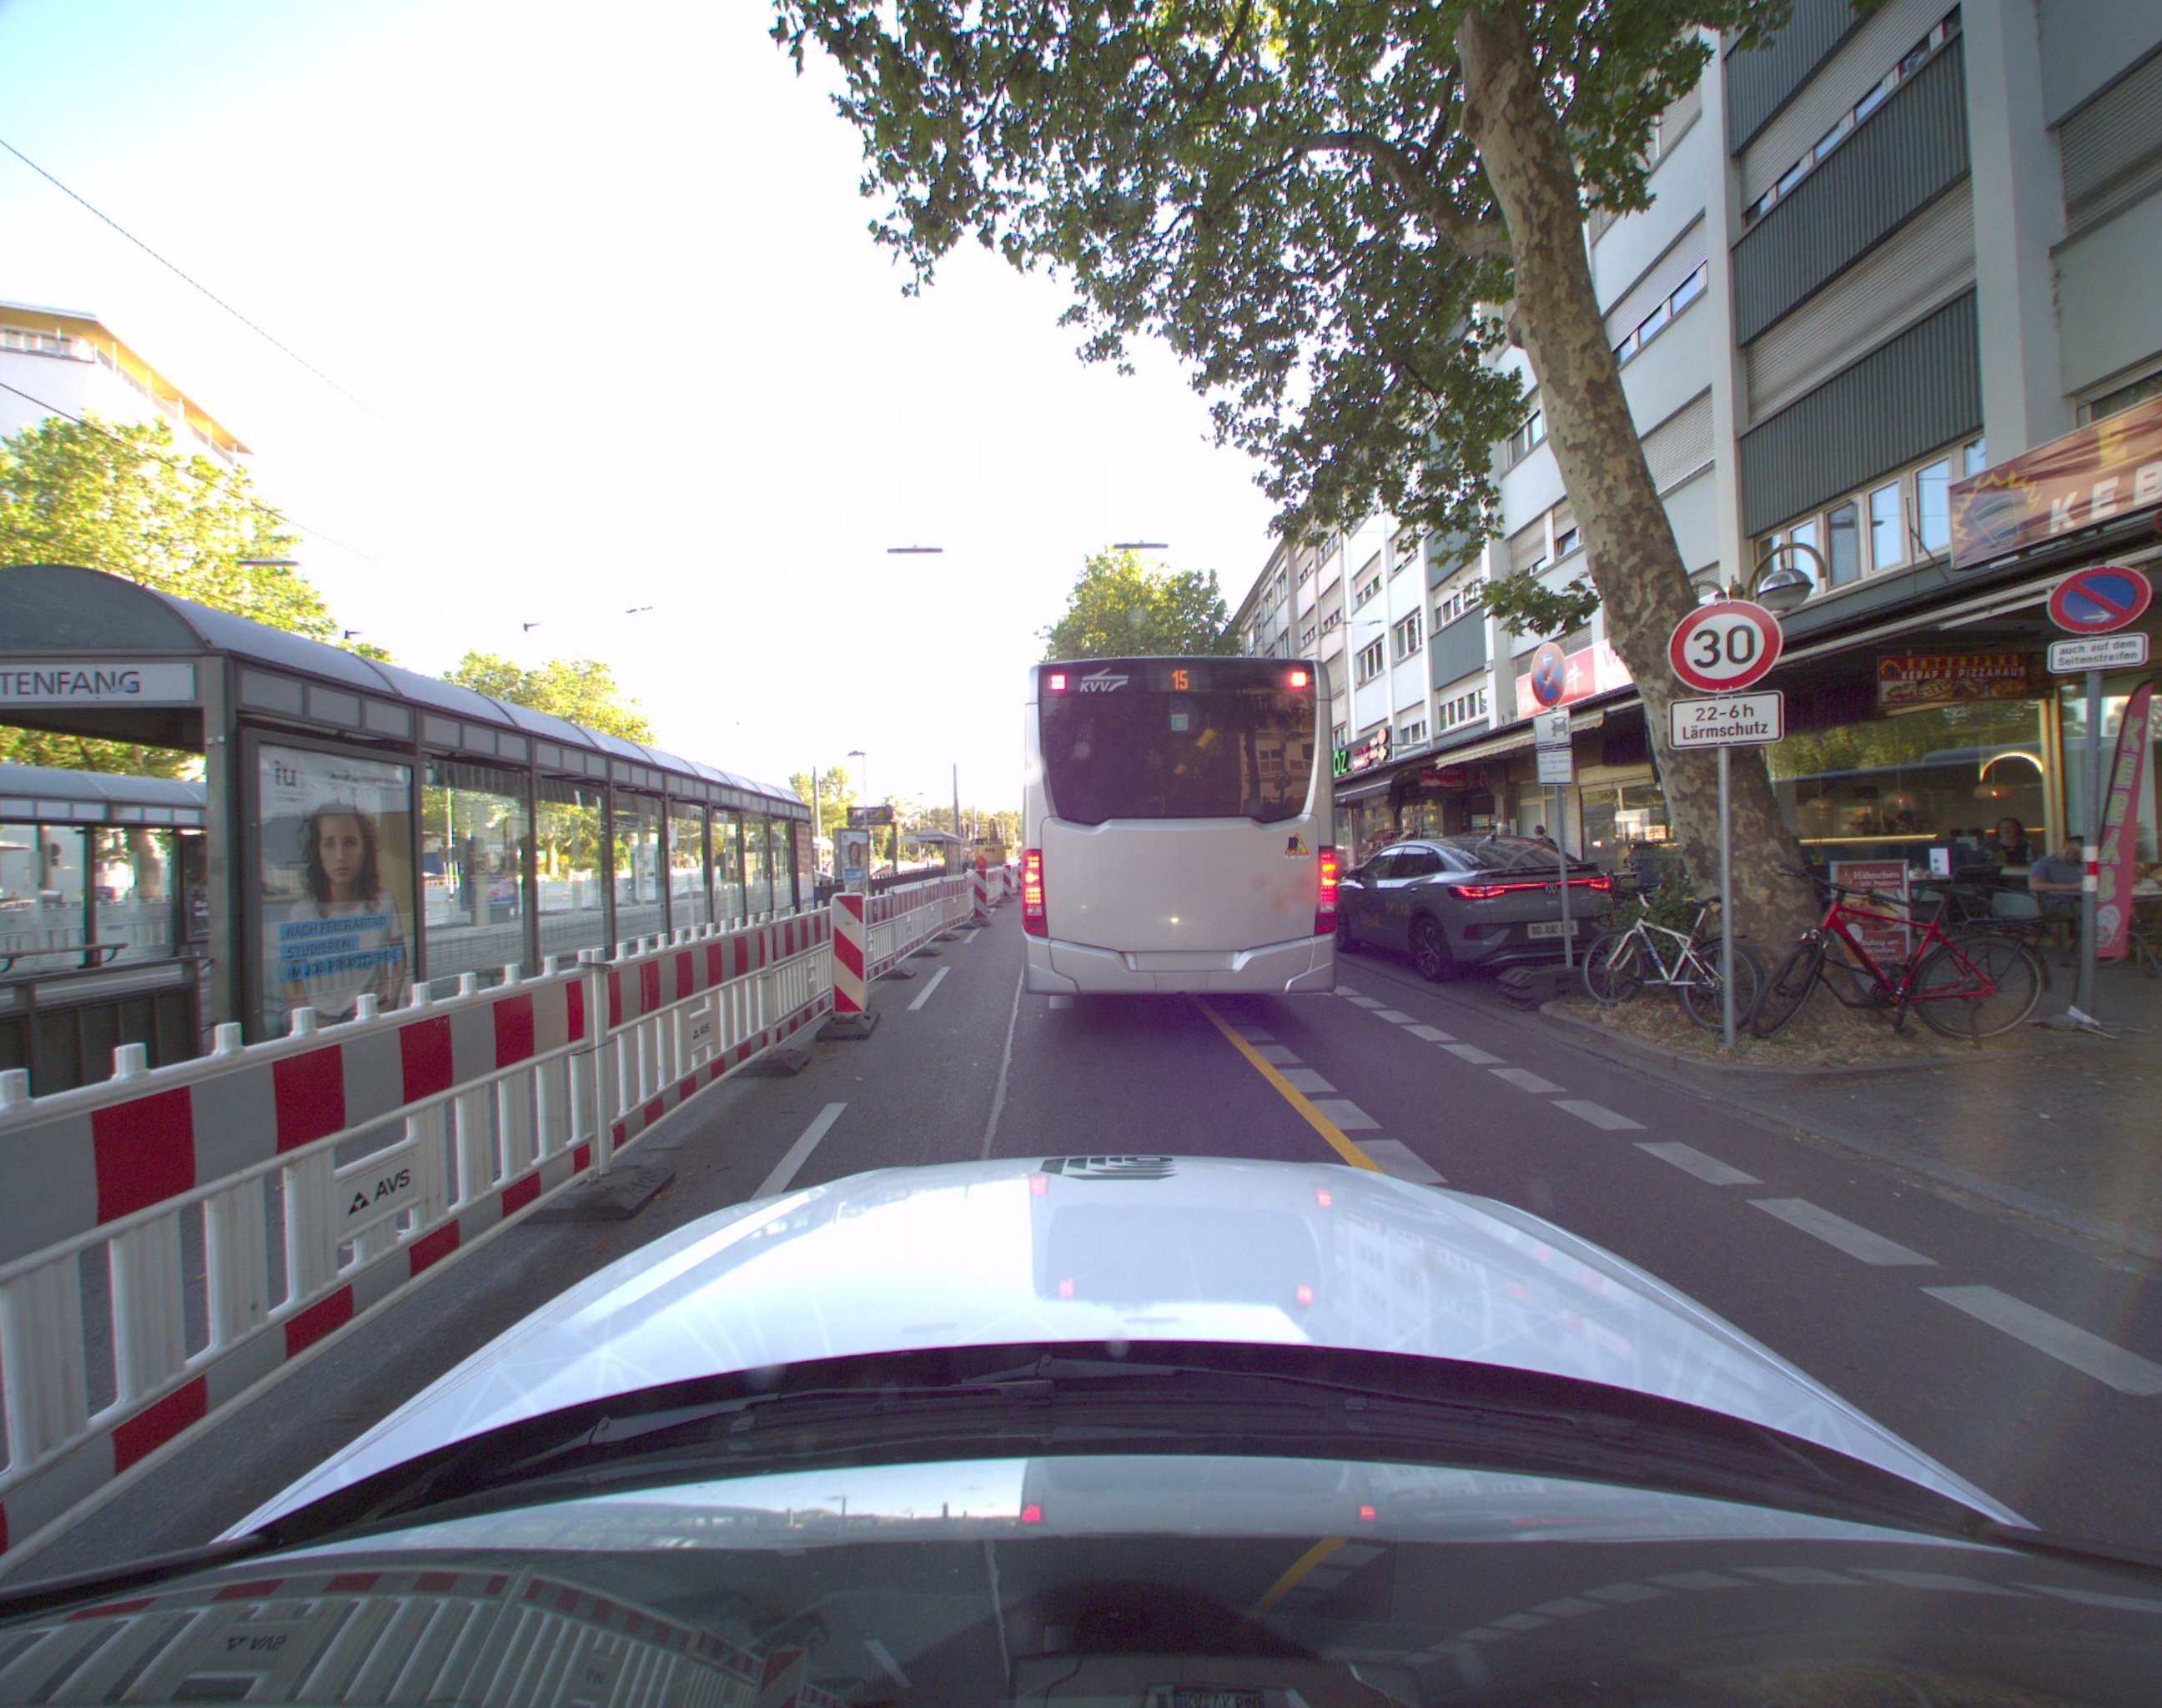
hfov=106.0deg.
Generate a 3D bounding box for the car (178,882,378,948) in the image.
[{"bbox_3d":[-25.983,1.900,26.656,1.943,1.654,4.686,-2,1,-2],"label":"car"}]

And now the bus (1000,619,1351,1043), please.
[{"bbox_3d":[0.859,-0.159,11.349,2.598,3.170,10.294,-1,0,2],"label":"bus"}]

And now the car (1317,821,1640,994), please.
[{"bbox_3d":[4.603,0.533,10.290,1.736,1.597,4.294,-4,0,-3],"label":"car"}]

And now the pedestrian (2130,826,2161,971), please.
[{"bbox_3d":[9.559,0.366,6.786,0.612,1.243,0.714,-5,-1,11],"label":"pedestrian"}]

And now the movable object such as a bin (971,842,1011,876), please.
[{"bbox_3d":[-7.043,0.386,63.985,2.800,2.462,3.995,-2,0,-3],"label":"movable object such as a bin"}]

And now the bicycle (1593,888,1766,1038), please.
[{"bbox_3d":[4.480,0.774,6.166,0.294,0.927,1.127,-7,3,-8],"label":"bicycle"}]

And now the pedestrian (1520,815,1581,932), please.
[{"bbox_3d":[8.407,0.342,14.608,0.610,2.013,0.696,-2,-1,-1],"label":"pedestrian"}]

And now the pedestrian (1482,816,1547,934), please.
[{"bbox_3d":[7.649,0.356,14.401,0.689,2.013,0.695,-2,-1,-4],"label":"pedestrian"}]

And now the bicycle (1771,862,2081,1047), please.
[{"bbox_3d":[5.493,0.663,5.347,1.450,1.066,0.297,-6,3,13],"label":"bicycle"}]

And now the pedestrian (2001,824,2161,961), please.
[{"bbox_3d":[9.622,0.358,7.823,0.673,1.203,0.706,-5,-1,11],"label":"pedestrian"}]
